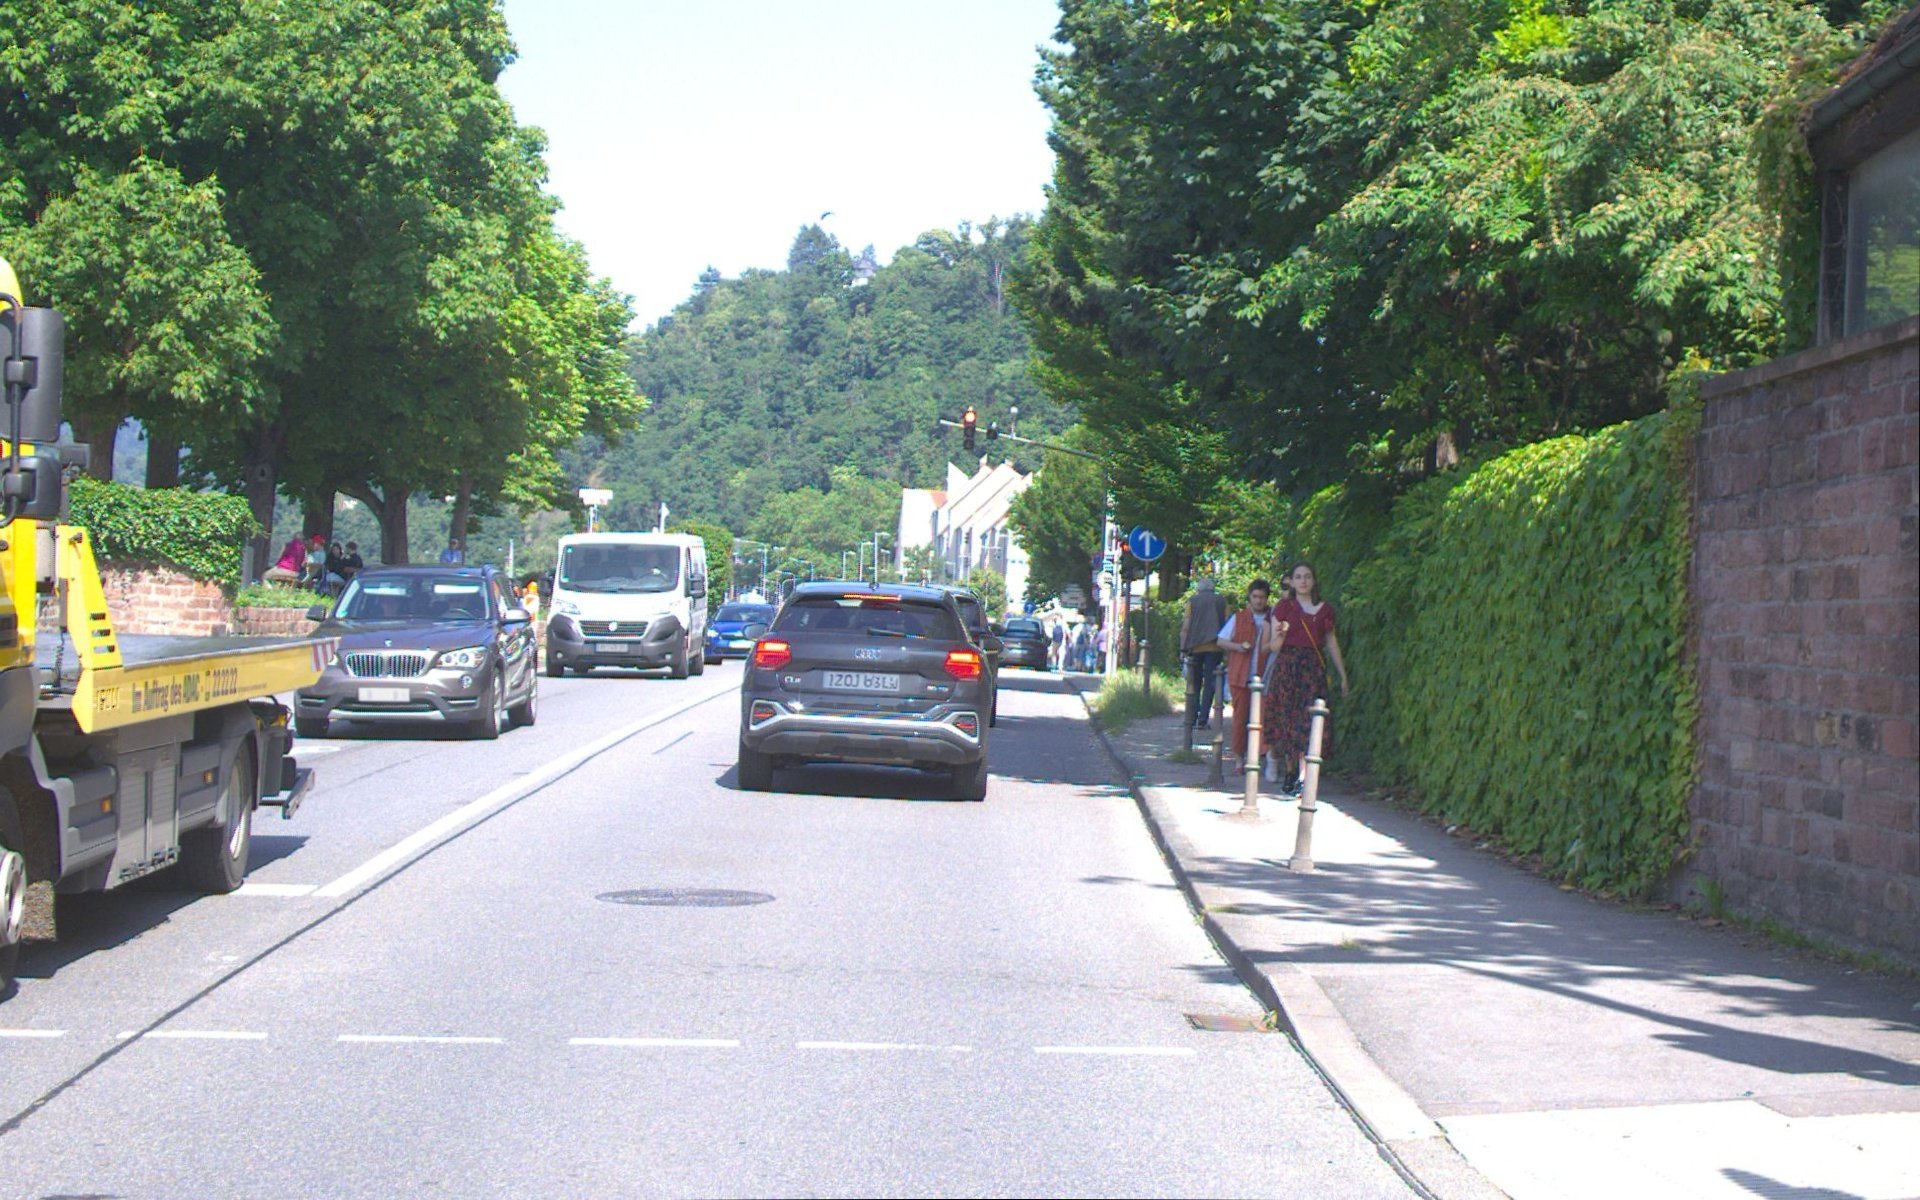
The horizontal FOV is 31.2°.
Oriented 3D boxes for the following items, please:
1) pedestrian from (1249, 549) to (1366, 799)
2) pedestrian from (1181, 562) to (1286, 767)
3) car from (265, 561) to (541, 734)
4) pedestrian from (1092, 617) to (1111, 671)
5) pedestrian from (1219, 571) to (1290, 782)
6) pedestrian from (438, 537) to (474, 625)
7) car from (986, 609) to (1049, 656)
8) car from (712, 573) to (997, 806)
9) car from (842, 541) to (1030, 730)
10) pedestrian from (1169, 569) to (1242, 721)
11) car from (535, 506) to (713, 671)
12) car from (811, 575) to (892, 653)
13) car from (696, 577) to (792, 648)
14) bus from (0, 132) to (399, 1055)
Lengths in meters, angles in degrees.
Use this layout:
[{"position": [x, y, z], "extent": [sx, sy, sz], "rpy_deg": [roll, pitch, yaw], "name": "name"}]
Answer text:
[{"position": [2.501, 0.517, 24.811], "extent": [0.681, 1.736, 0.913], "rpy_deg": [2, 1, 0], "name": "pedestrian"}, {"position": [2.228, 0.517, 28.085], "extent": [0.735, 1.628, 0.920], "rpy_deg": [2, 0, 0], "name": "pedestrian"}, {"position": [-4.954, 0.376, 31.124], "extent": [1.815, 1.393, 4.347], "rpy_deg": [1, 1, -1], "name": "car"}, {"position": [4.147, 1.282, 100.744], "extent": [0.489, 1.554, 0.461], "rpy_deg": [2, -2, 0], "name": "pedestrian"}, {"position": [2.268, 0.583, 26.525], "extent": [0.455, 1.600, 0.579], "rpy_deg": [2, 0, 0], "name": "pedestrian"}, {"position": [-11.709, -0.428, 79.889], "extent": [0.640, 2.007, 0.730], "rpy_deg": [2, -2, 0], "name": "pedestrian"}, {"position": [1.903, 1.104, 115.070], "extent": [1.993, 1.448, 4.008], "rpy_deg": [2, -2, 0], "name": "car"}, {"position": [-0.704, 0.598, 25.615], "extent": [1.857, 1.518, 4.000], "rpy_deg": [3, 0, 1], "name": "car"}, {"position": [-0.281, 0.373, 39.501], "extent": [1.993, 2.007, 4.000], "rpy_deg": [2, 0, -1], "name": "car"}, {"position": [2.702, 0.493, 37.902], "extent": [0.728, 1.644, 0.882], "rpy_deg": [-1, 0, 0], "name": "pedestrian"}, {"position": [-4.996, -0.205, 51.954], "extent": [2.096, 2.294, 5.869], "rpy_deg": [2, 1, 0], "name": "car"}, {"position": [-3.686, 0.501, 117.579], "extent": [2.494, 2.458, 5.619], "rpy_deg": [2, -2, 0], "name": "car"}, {"position": [-4.890, 0.308, 78.210], "extent": [1.899, 1.484, 3.795], "rpy_deg": [2, -1, 0], "name": "car"}, {"position": [-4.331, -0.039, 14.296], "extent": [2.597, 2.887, 8.447], "rpy_deg": [2, 0, -1], "name": "bus"}]
